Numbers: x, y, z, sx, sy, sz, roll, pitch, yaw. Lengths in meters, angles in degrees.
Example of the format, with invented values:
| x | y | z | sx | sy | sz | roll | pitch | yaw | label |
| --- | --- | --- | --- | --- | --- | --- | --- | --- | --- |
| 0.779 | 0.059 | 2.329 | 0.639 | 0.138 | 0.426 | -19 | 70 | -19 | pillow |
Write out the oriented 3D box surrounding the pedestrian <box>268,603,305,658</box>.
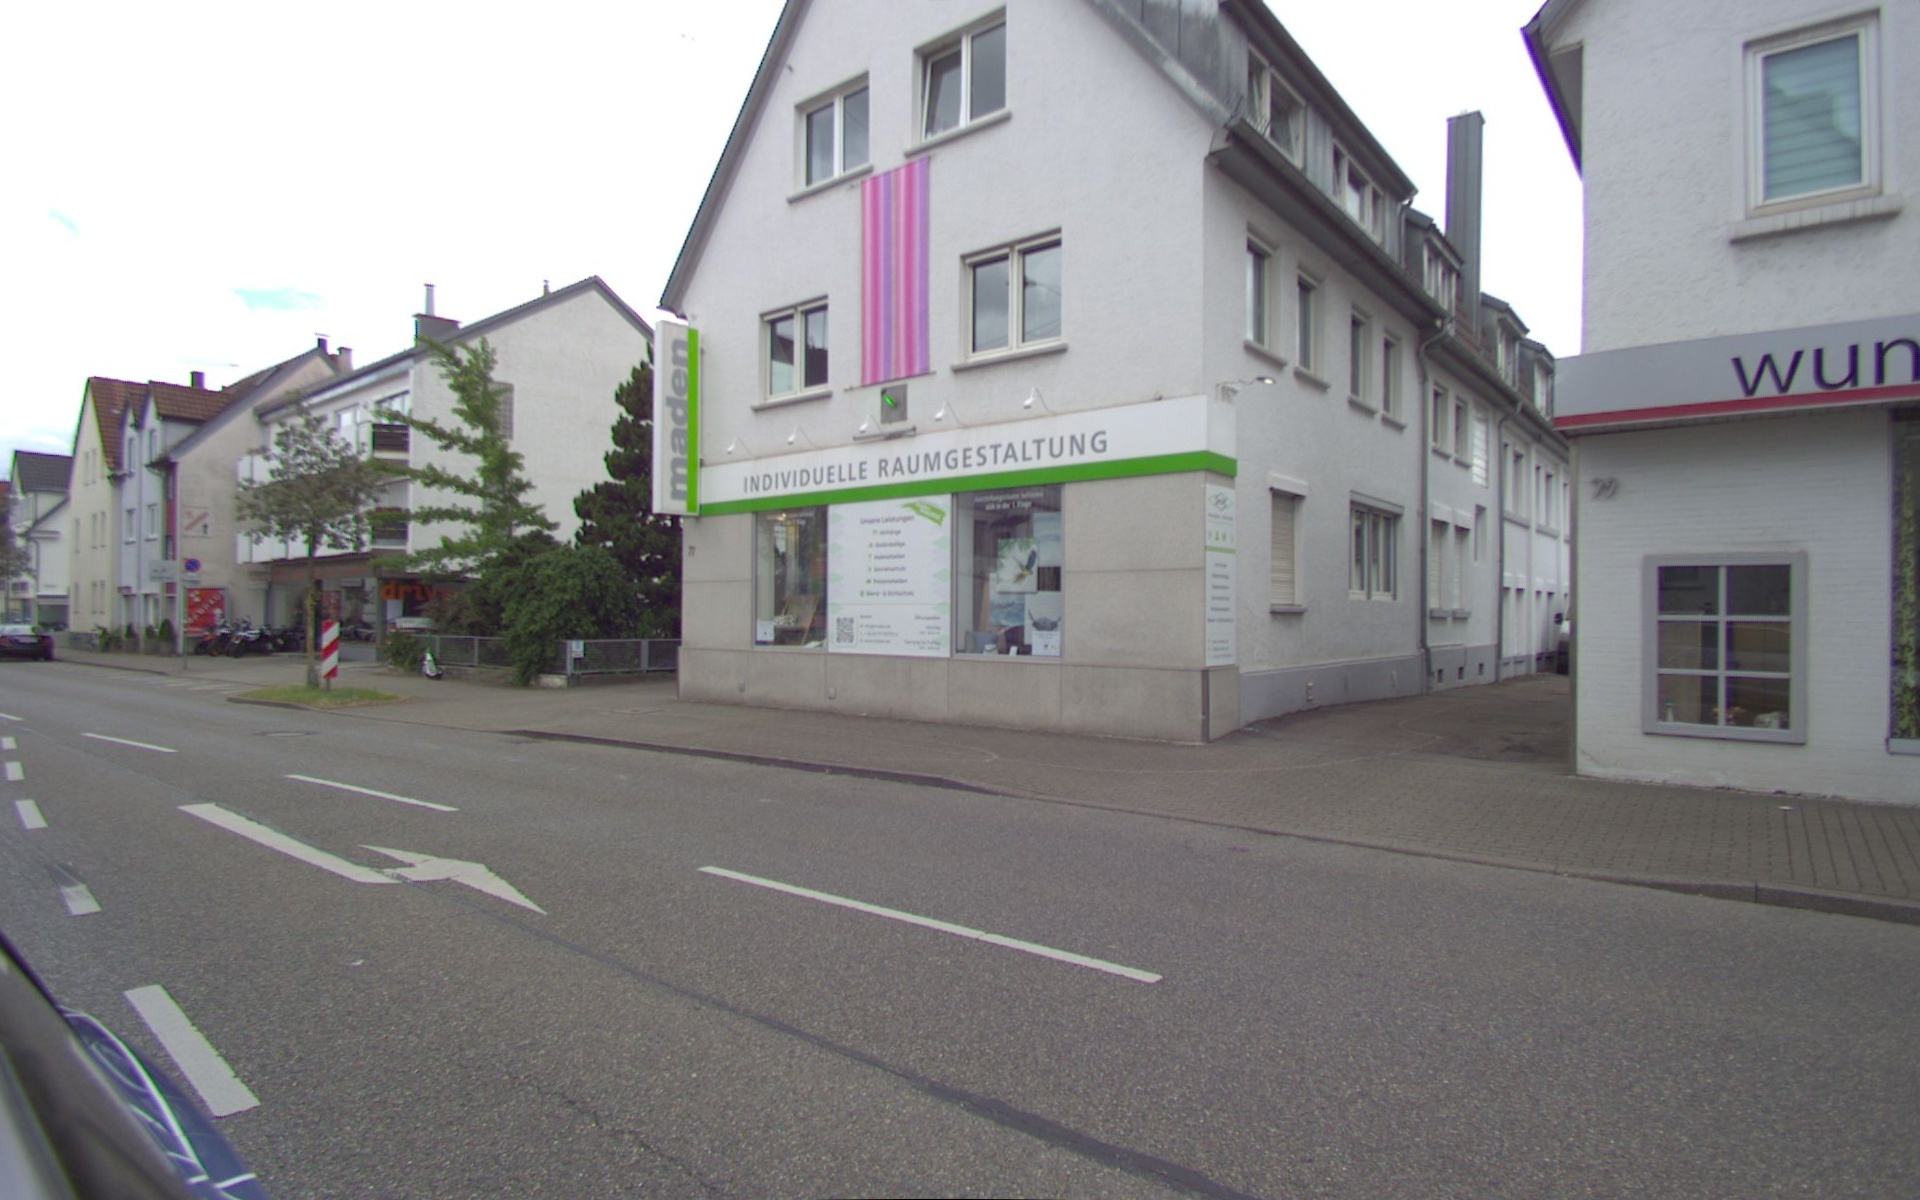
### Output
| x | y | z | sx | sy | sz | roll | pitch | yaw | label |
| --- | --- | --- | --- | --- | --- | --- | --- | --- | --- |
| -23.451 | 1.043 | 35.251 | 1.019 | 1.863 | 0.744 | -1 | 2 | 40 | pedestrian |

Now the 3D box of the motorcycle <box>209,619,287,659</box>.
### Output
| x | y | z | sx | sy | sz | roll | pitch | yaw | label |
| --- | --- | --- | --- | --- | --- | --- | --- | --- | --- |
| -25.811 | 1.397 | 36.742 | 0.612 | 1.275 | 2.204 | -1 | 1 | 38 | motorcycle |

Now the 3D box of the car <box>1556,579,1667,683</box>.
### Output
| x | y | z | sx | sy | sz | roll | pitch | yaw | label |
| --- | --- | --- | --- | --- | --- | --- | --- | --- | --- |
| 18.089 | 0.750 | 27.971 | 1.957 | 2.527 | 5.918 | 2 | 2 | 38 | car |

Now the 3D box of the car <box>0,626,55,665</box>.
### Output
| x | y | z | sx | sy | sz | roll | pitch | yaw | label |
| --- | --- | --- | --- | --- | --- | --- | --- | --- | --- |
| -36.325 | 1.703 | 38.806 | 4.337 | 1.428 | 1.770 | -1 | -2 | 39 | car |

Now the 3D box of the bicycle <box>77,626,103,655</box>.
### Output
| x | y | z | sx | sy | sz | roll | pitch | yaw | label |
| --- | --- | --- | --- | --- | --- | --- | --- | --- | --- |
| -37.734 | 1.757 | 43.884 | 2.022 | 1.205 | 0.509 | -1 | -1 | 39 | bicycle |

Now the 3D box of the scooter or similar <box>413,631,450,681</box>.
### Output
| x | y | z | sx | sy | sz | roll | pitch | yaw | label |
| --- | --- | --- | --- | --- | --- | --- | --- | --- | --- |
| -12.072 | 1.266 | 23.106 | 1.179 | 1.120 | 0.336 | -1 | -1 | 41 | scooter or similar |

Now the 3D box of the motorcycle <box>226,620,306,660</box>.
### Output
| x | y | z | sx | sy | sz | roll | pitch | yaw | label |
| --- | --- | --- | --- | --- | --- | --- | --- | --- | --- |
| -24.434 | 1.388 | 35.665 | 0.612 | 1.275 | 2.204 | -1 | 1 | 38 | motorcycle |

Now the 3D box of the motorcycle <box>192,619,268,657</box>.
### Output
| x | y | z | sx | sy | sz | roll | pitch | yaw | label |
| --- | --- | --- | --- | --- | --- | --- | --- | --- | --- |
| -27.518 | 1.424 | 38.179 | 0.612 | 1.275 | 2.204 | -1 | 1 | 38 | motorcycle |

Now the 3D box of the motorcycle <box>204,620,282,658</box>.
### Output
| x | y | z | sx | sy | sz | roll | pitch | yaw | label |
| --- | --- | --- | --- | --- | --- | --- | --- | --- | --- |
| -26.360 | 1.416 | 37.216 | 0.698 | 1.275 | 2.204 | -1 | 1 | 38 | motorcycle |

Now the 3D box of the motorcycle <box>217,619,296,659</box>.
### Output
| x | y | z | sx | sy | sz | roll | pitch | yaw | label |
| --- | --- | --- | --- | --- | --- | --- | --- | --- | --- |
| -25.139 | 1.387 | 36.192 | 0.612 | 1.275 | 2.204 | -1 | 1 | 38 | motorcycle |

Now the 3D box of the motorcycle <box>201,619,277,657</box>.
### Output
| x | y | z | sx | sy | sz | roll | pitch | yaw | label |
| --- | --- | --- | --- | --- | --- | --- | --- | --- | --- |
| -26.897 | 1.411 | 37.776 | 0.612 | 1.275 | 2.204 | -1 | 1 | 38 | motorcycle |
